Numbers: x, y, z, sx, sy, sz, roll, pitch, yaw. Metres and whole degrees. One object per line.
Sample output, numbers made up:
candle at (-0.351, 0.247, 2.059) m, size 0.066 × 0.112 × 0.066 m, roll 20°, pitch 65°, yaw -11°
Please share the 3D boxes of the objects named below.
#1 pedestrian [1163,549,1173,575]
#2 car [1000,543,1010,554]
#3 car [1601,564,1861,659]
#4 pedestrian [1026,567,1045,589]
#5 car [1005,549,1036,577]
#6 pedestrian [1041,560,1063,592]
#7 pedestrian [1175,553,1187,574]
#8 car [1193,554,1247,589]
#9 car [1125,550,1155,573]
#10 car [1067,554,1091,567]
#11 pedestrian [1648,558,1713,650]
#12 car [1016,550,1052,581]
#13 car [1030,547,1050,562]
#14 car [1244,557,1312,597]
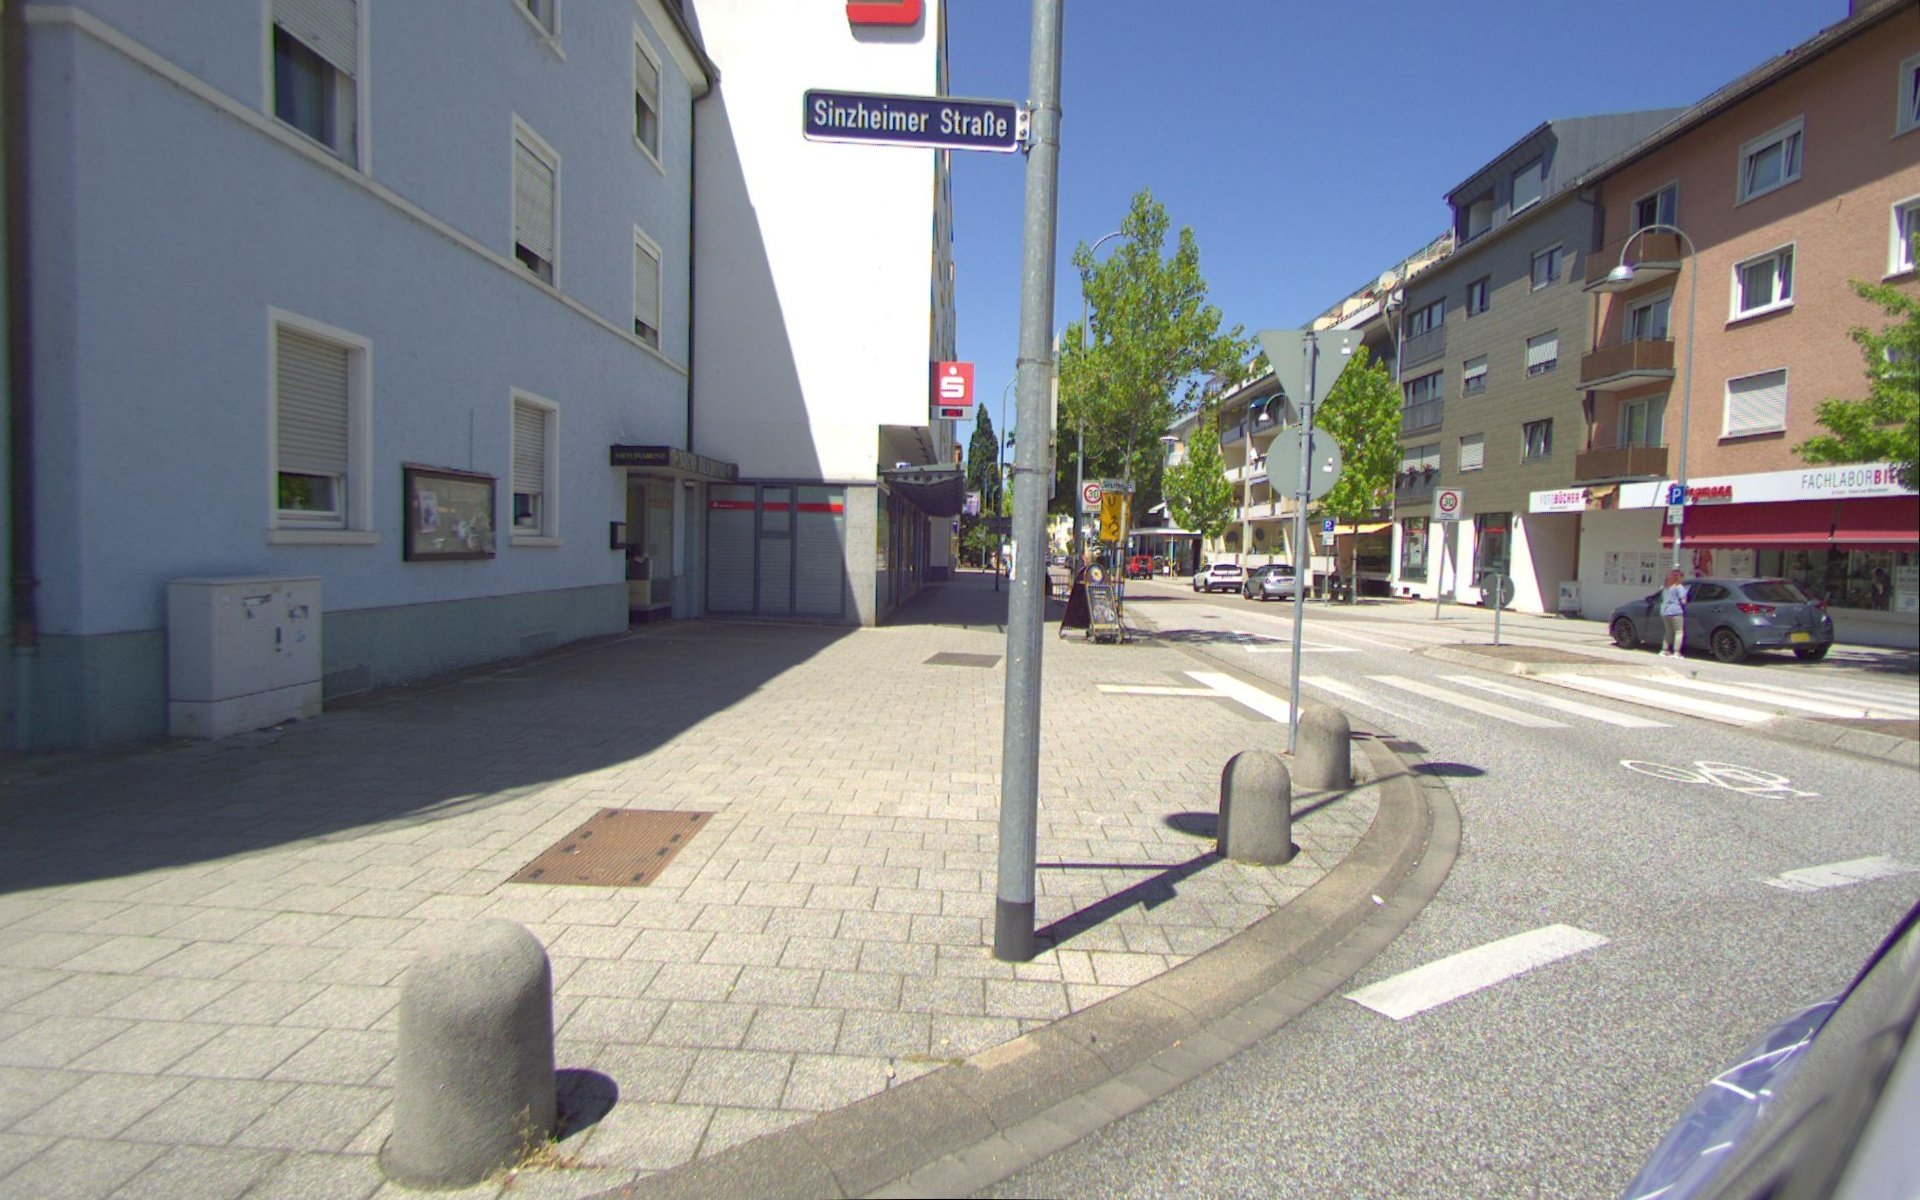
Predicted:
pedestrian at (15.119, -2.771, 73.599) m, size 0.659 × 1.827 × 0.682 m, roll 2°, pitch 2°, yaw 16°
car at (10.790, -12.333, 242.839) m, size 2.191 × 2.496 × 5.250 m, roll 1°, pitch 3°, yaw 1°
car at (14.236, 0.122, 19.018) m, size 1.640 × 1.504 × 4.065 m, roll -2°, pitch 3°, yaw -3°
pedestrian at (3.078, -0.885, 41.072) m, size 0.670 × 0.862 × 0.536 m, roll 3°, pitch 3°, yaw 13°
car at (4.015, -2.520, 67.945) m, size 1.661 × 1.743 × 4.138 m, roll 1°, pitch 3°, yaw -2°
pedestrian at (3.673, -0.971, 40.494) m, size 0.752 × 1.255 × 0.535 m, roll 2°, pitch 3°, yaw 16°
pedestrian at (16.125, -2.646, 73.910) m, size 0.767 × 1.517 × 0.695 m, roll 2°, pitch 2°, yaw 12°
car at (13.064, -1.468, 51.071) m, size 1.669 × 1.611 × 4.300 m, roll 1°, pitch 3°, yaw 1°
car at (13.214, -2.858, 74.401) m, size 1.615 × 1.682 × 3.371 m, roll -1°, pitch 3°, yaw 1°
car at (13.528, -4.538, 115.566) m, size 1.960 × 1.437 × 4.005 m, roll 1°, pitch 3°, yaw -4°
pedestrian at (13.140, 0.061, 18.476) m, size 0.723 × 1.629 × 0.558 m, roll 2°, pitch 2°, yaw 9°
car at (4.526, -2.168, 62.378) m, size 1.661 × 1.742 × 4.004 m, roll 4°, pitch 3°, yaw -3°
car at (9.812, -5.570, 124.220) m, size 1.870 × 1.775 × 4.761 m, roll 2°, pitch 3°, yaw -2°
car at (12.635, -0.947, 40.419) m, size 1.596 × 1.491 × 3.549 m, roll 1°, pitch 3°, yaw 1°
